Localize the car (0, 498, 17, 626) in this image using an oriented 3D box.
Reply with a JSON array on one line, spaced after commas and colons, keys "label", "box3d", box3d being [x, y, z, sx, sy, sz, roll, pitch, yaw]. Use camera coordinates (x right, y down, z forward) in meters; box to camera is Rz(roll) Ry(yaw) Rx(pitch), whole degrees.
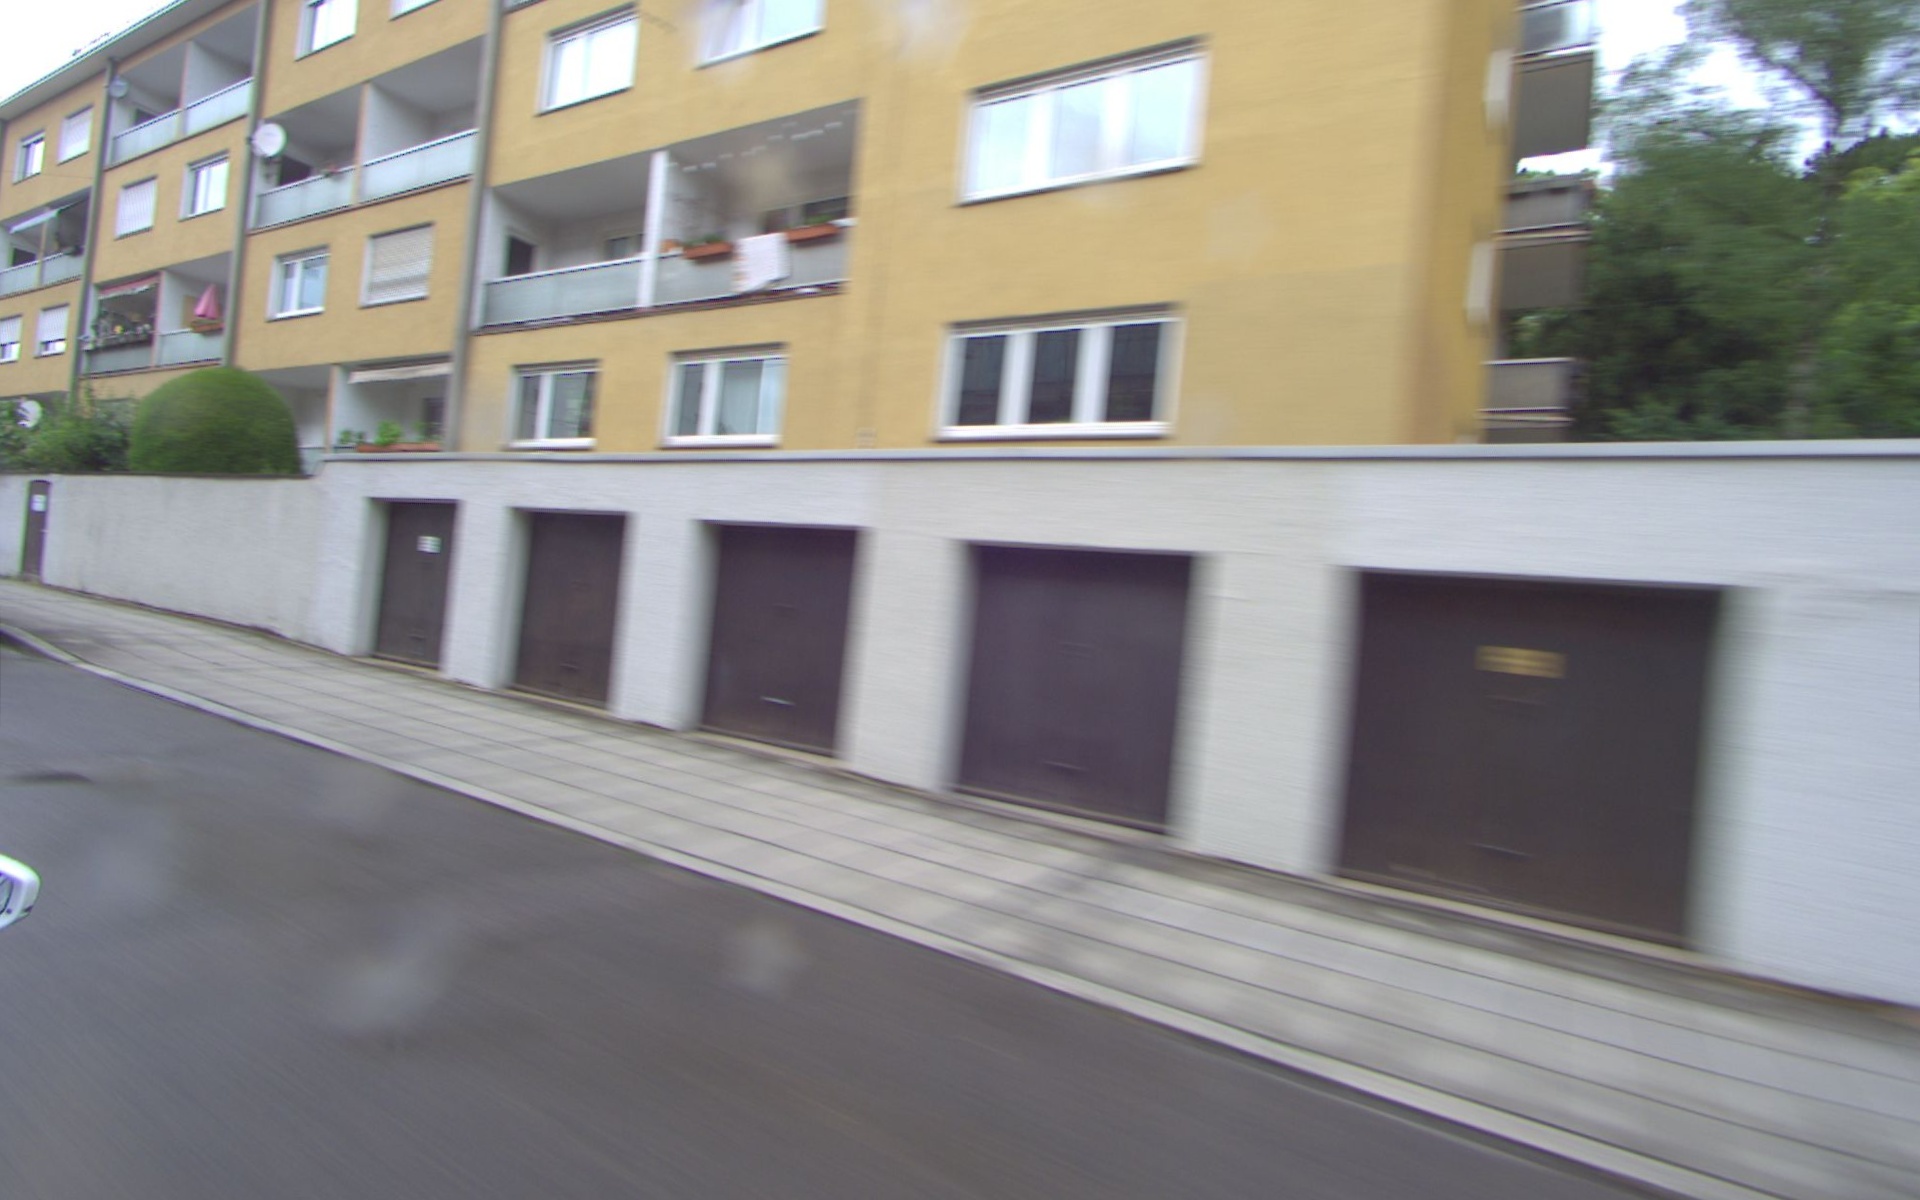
[{"label": "car", "box3d": [-12.635, -0.533, 11.344, 4.009, 1.671, 1.821, 6, -2, 32]}]
